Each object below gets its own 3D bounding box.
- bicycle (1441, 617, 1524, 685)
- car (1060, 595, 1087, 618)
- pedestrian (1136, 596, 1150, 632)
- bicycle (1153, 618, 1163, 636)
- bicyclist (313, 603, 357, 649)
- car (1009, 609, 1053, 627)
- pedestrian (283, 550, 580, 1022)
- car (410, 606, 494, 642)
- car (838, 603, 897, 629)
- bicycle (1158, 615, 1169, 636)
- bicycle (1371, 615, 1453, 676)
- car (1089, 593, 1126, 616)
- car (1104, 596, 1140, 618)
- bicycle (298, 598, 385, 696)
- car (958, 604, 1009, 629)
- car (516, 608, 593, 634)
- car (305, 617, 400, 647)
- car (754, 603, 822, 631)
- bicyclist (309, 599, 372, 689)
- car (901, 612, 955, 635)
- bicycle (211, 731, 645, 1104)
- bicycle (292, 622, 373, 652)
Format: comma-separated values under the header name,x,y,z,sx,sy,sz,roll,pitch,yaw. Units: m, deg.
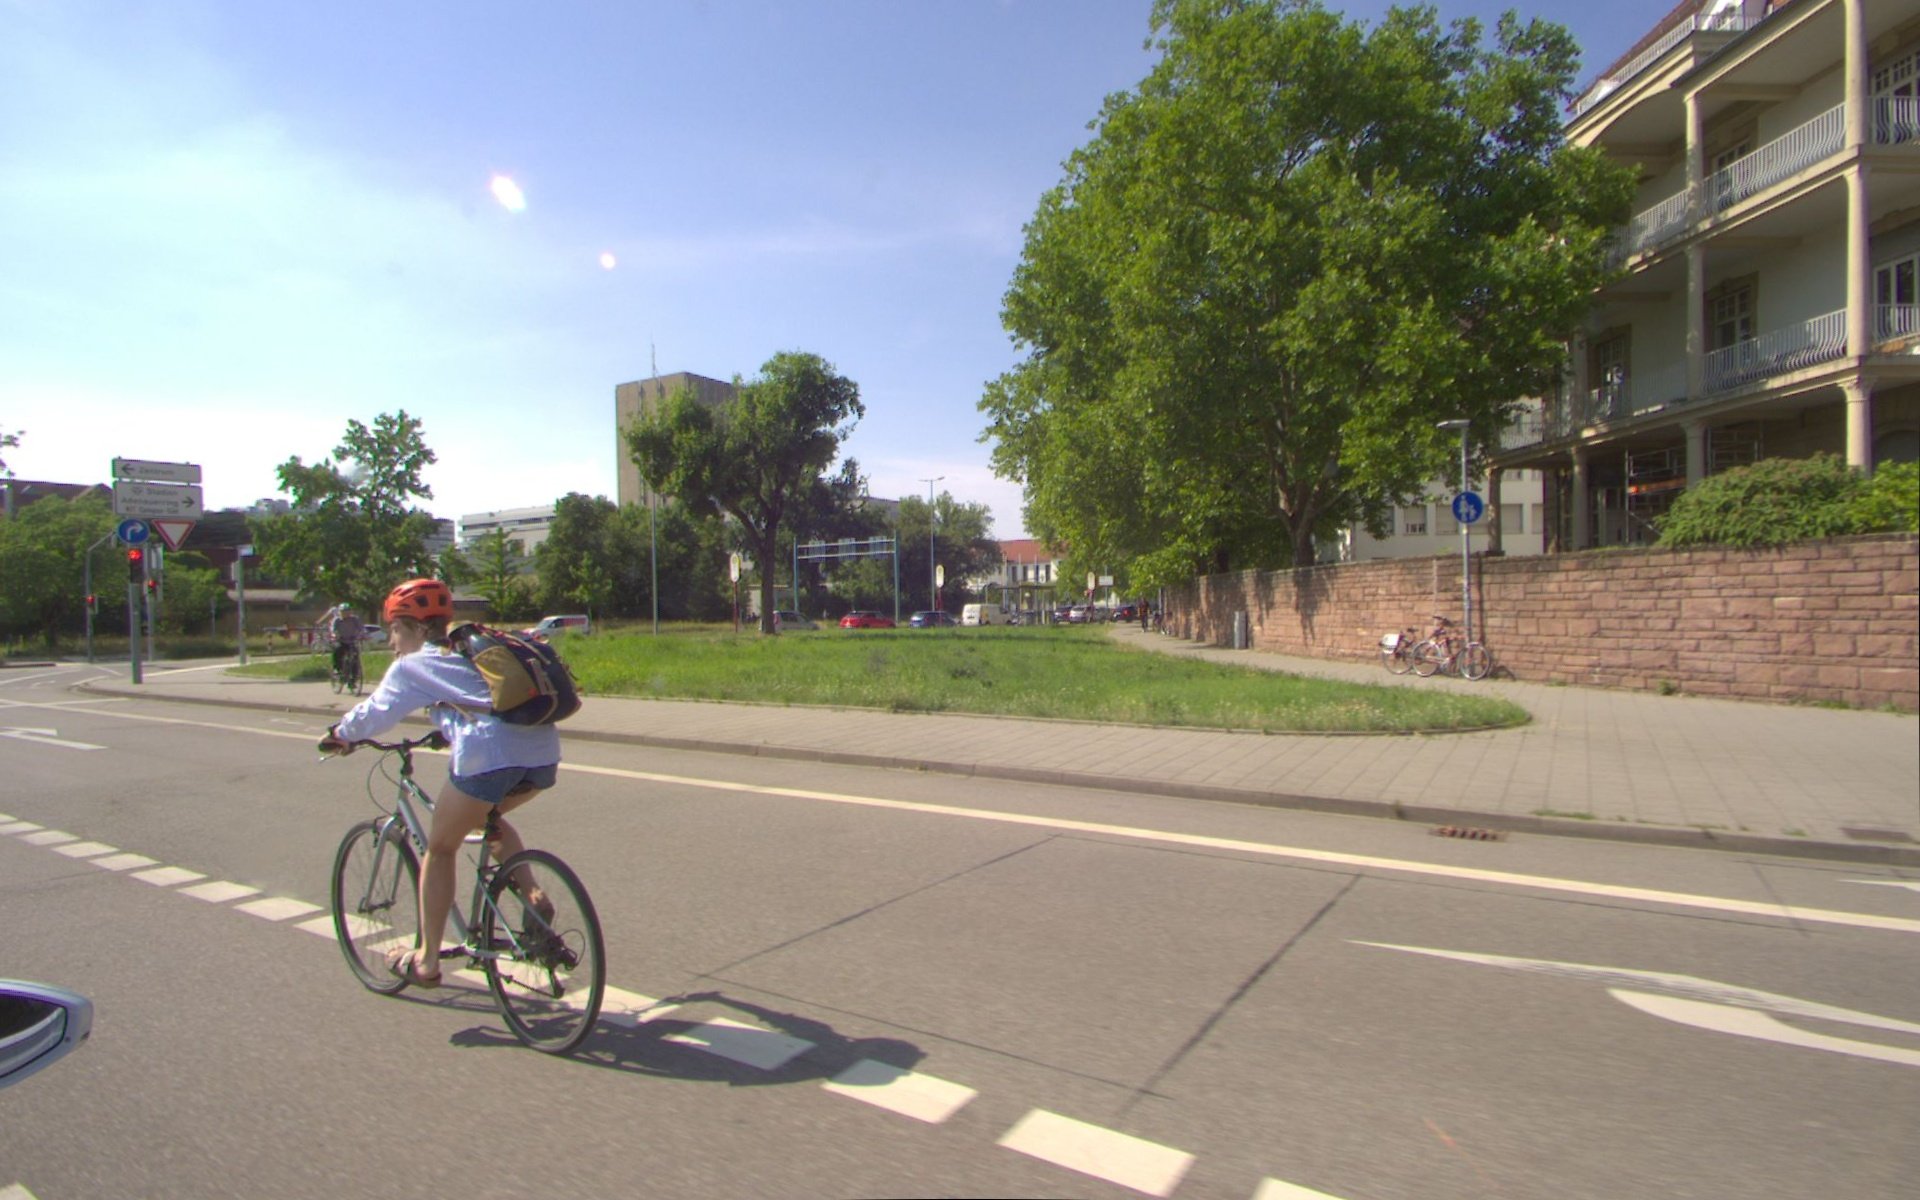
name,x,y,z,sx,sy,sz,roll,pitch,yaw
bicycle,9.328,0.892,17.917,0.343,1.138,1.430,-1,1,-23
car,10.123,0.573,89.294,1.963,2.040,3.996,-1,0,12
pedestrian,9.082,0.692,49.700,0.608,1.763,0.599,-1,1,3
bicycle,8.984,1.220,45.451,0.334,0.738,1.365,-1,0,5
bicyclist,-20.571,0.861,32.980,1.121,1.489,0.496,0,-2,-11
car,5.818,1.434,81.805,1.729,1.357,3.974,0,0,36
pedestrian,-1.952,0.600,3.683,1.000,1.485,0.581,-1,-1,35
car,-30.190,1.380,59.597,1.973,2.040,3.976,0,0,34
car,-5.936,1.069,64.425,1.727,1.527,3.982,0,-3,32
bicycle,8.896,1.103,43.789,0.365,0.867,1.307,-1,0,7
bicycle,8.753,0.872,19.432,0.346,1.138,1.421,-2,1,-44
car,13.791,0.437,93.468,1.973,2.040,3.976,-1,0,34
car,15.552,0.701,96.093,1.973,2.040,3.976,-1,0,34
bicycle,-11.868,0.876,19.199,1.785,1.789,0.676,-1,1,33
car,1.800,1.248,75.832,1.729,1.781,4.403,0,0,36
car,-26.130,1.338,64.677,1.883,1.590,4.301,-1,0,32
car,-33.100,1.747,54.675,1.972,1.483,3.979,-2,-1,32
car,-10.077,0.998,58.965,1.727,1.528,3.978,0,0,32
bicyclist,-11.873,0.819,19.198,0.906,1.677,0.676,0,1,32
car,-2.204,1.620,70.281,1.729,1.493,3.974,0,0,36
bicycle,-2.080,1.047,3.782,2.001,0.943,0.595,-1,-1,34
bicycle,-20.642,1.217,32.983,2.128,0.928,0.674,-1,1,-11
